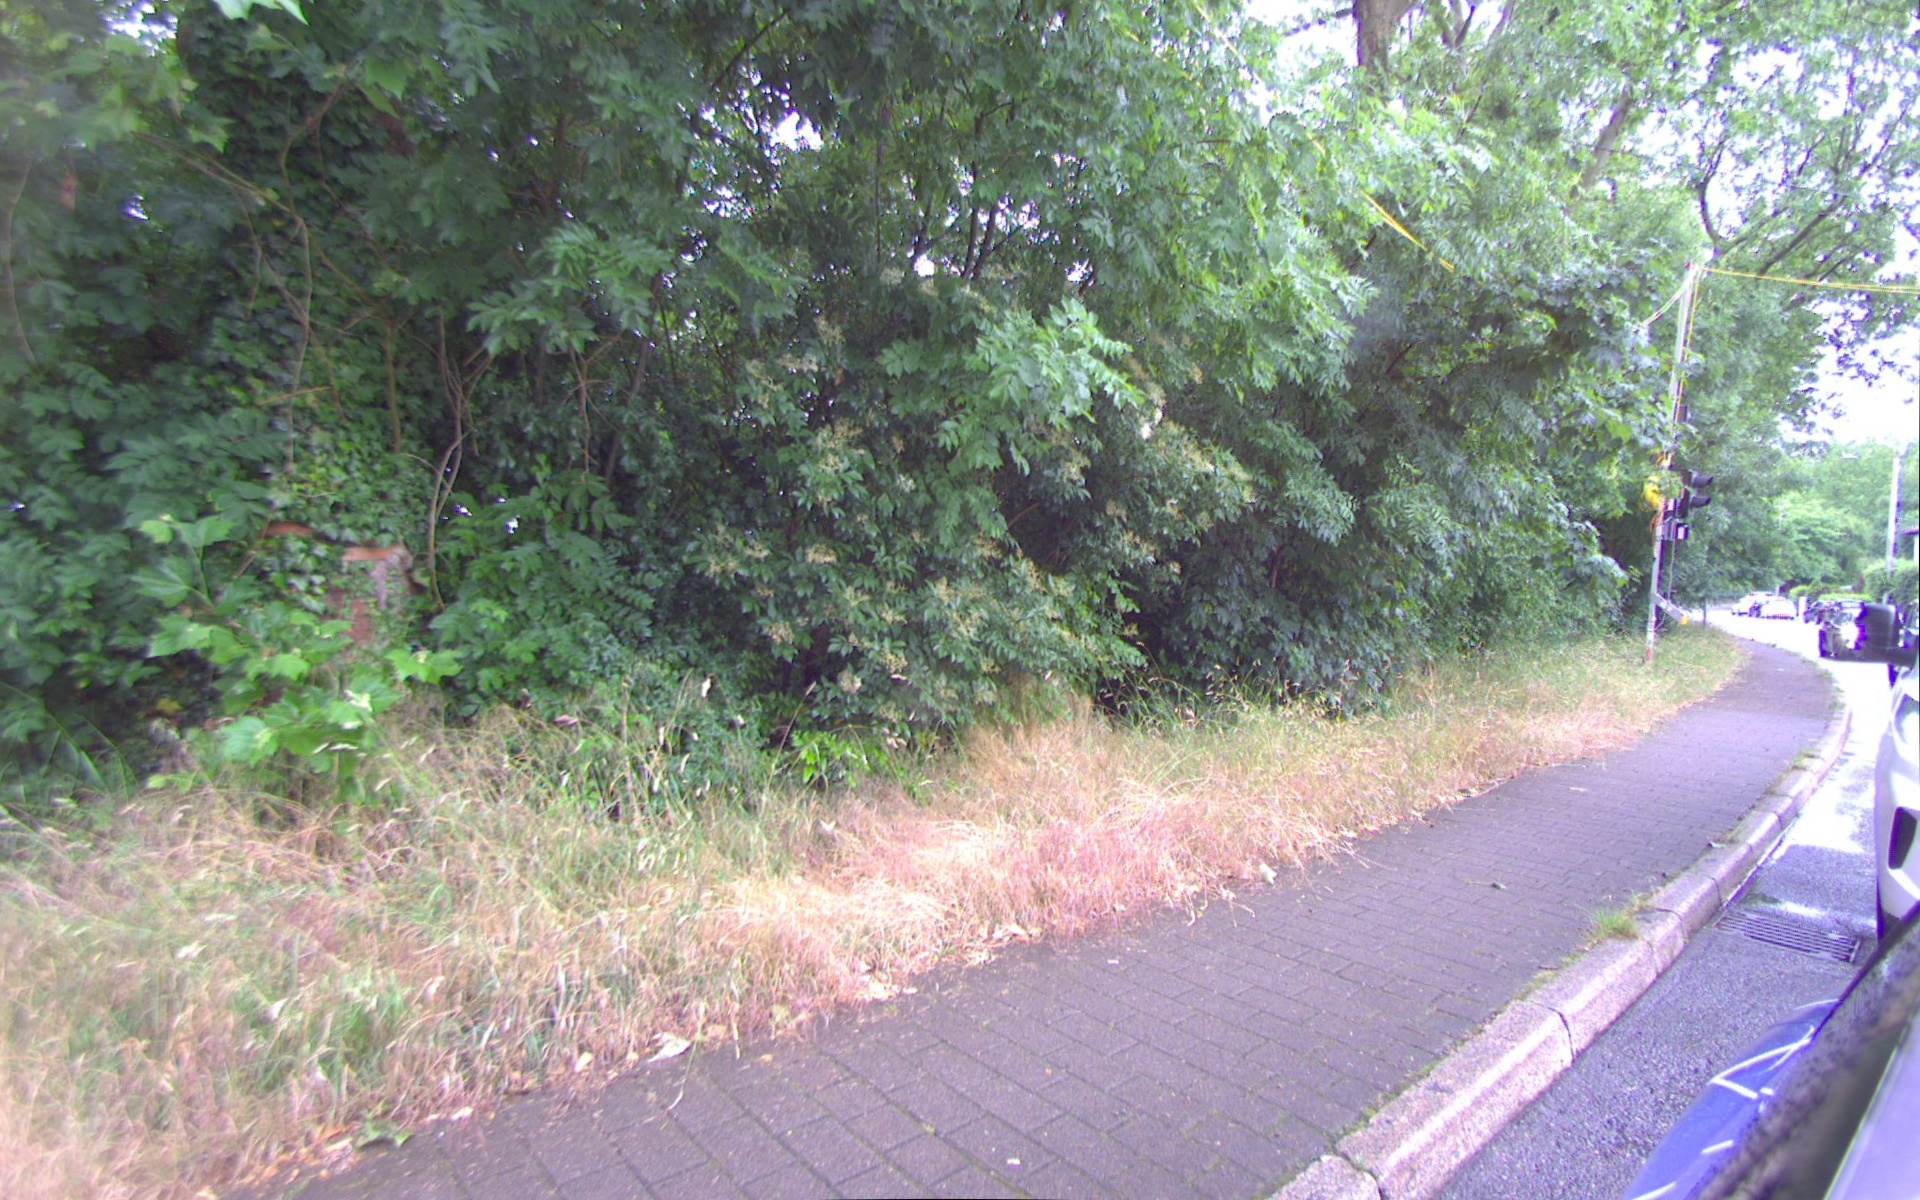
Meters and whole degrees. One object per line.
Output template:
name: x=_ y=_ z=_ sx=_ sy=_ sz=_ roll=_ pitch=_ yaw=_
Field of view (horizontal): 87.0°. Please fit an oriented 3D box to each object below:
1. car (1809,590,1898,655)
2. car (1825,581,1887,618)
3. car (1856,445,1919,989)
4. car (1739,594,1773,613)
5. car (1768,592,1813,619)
car: x=23.687 y=0.609 z=26.909 sx=1.663 sy=1.610 sz=3.946 roll=0 pitch=-2 yaw=40
car: x=51.134 y=-0.057 z=57.816 sx=1.984 sy=2.039 sz=3.955 roll=0 pitch=0 yaw=32
car: x=5.867 y=0.390 z=4.594 sx=5.118 sy=1.917 sz=2.044 roll=-1 pitch=0 yaw=-41
car: x=64.826 y=0.268 z=82.416 sx=1.752 sy=1.547 sz=3.550 roll=0 pitch=0 yaw=32
car: x=60.605 y=0.351 z=73.916 sx=1.984 sy=1.884 sz=4.311 roll=0 pitch=0 yaw=32
